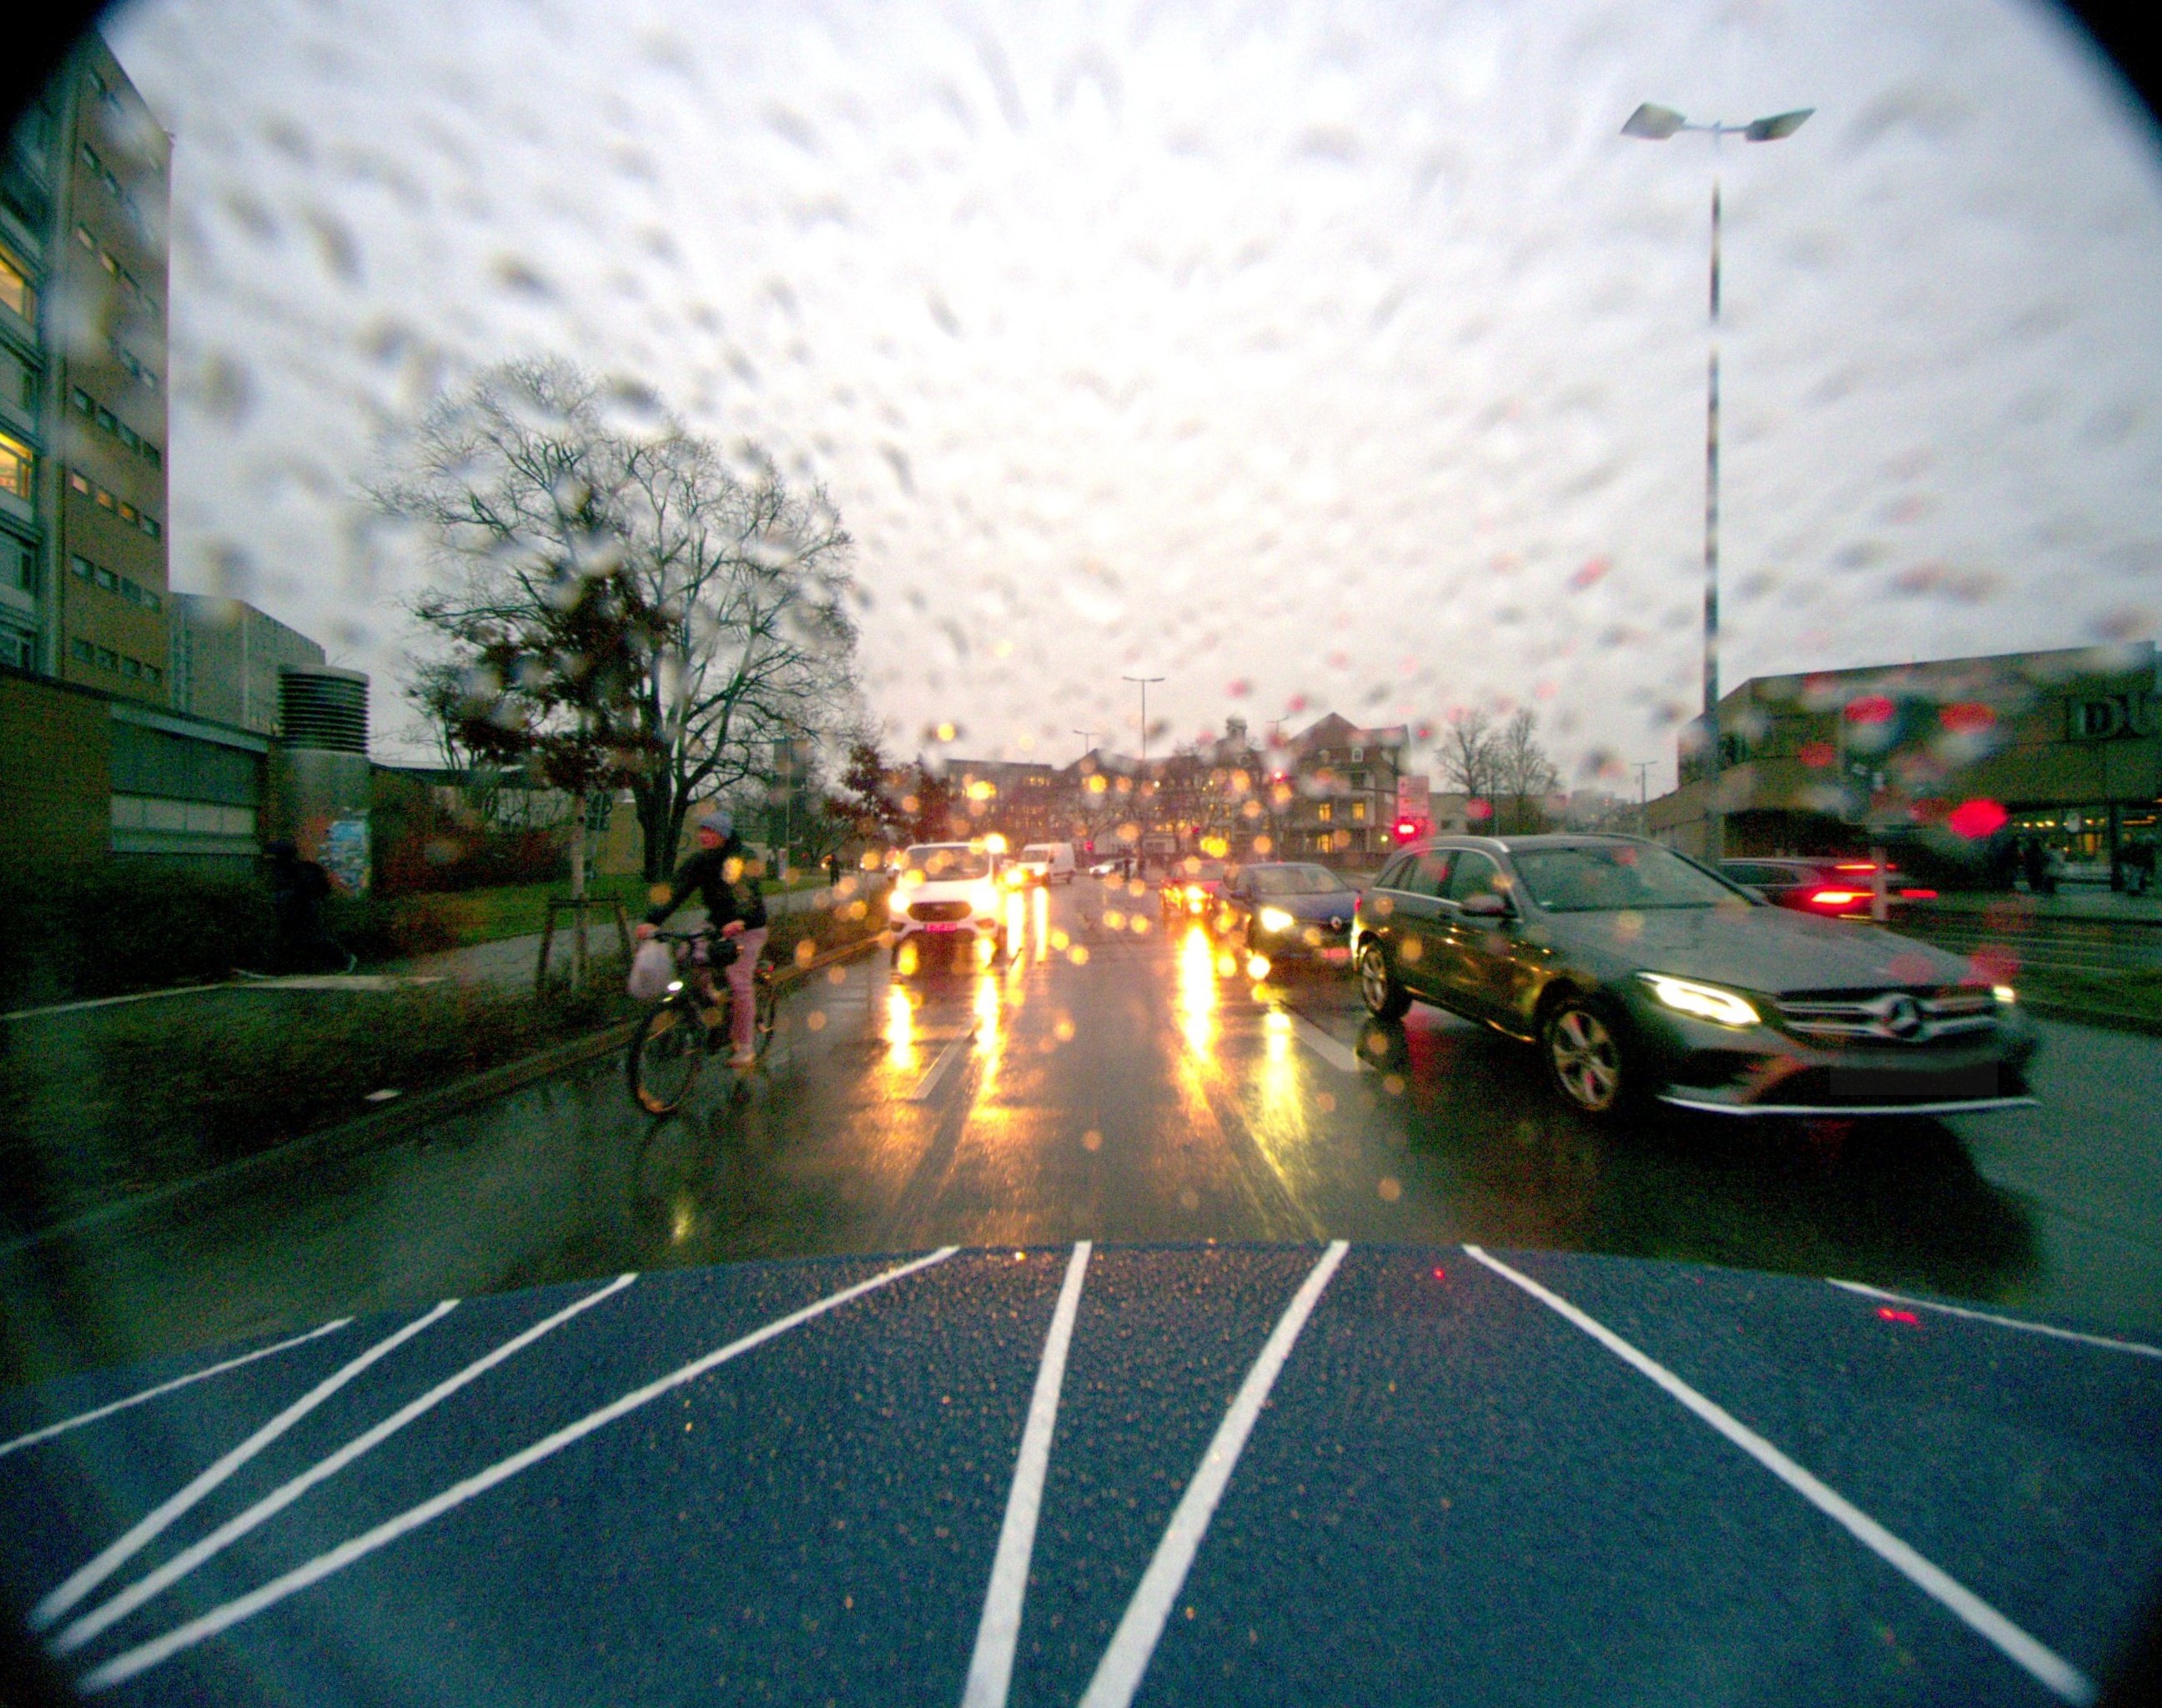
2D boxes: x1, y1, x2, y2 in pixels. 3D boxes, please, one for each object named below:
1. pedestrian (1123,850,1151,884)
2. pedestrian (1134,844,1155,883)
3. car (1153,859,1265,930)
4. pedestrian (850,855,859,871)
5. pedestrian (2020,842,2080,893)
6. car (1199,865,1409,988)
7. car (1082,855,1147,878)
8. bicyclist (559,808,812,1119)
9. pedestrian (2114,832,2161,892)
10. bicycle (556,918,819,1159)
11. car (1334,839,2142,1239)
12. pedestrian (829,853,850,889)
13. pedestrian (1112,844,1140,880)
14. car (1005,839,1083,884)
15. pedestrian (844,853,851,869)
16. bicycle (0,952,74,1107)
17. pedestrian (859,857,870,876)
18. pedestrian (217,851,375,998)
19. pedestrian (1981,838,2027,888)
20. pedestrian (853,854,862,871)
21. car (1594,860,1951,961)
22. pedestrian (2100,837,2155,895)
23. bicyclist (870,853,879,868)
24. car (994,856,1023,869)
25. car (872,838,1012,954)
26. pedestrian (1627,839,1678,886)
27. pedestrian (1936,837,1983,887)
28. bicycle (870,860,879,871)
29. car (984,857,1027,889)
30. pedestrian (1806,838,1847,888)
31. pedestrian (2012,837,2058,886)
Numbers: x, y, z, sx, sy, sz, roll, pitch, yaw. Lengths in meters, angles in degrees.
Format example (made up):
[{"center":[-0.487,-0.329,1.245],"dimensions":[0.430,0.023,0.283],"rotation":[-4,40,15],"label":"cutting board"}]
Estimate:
[{"center":[3.079,0.717,41.722],"dimensions":[1.037,1.846,1.068],"rotation":[1,-2,-38],"label":"pedestrian"},{"center":[3.309,0.500,39.544],"dimensions":[0.848,1.993,1.109],"rotation":[-1,-2,-6],"label":"pedestrian"},{"center":[3.084,0.927,19.107],"dimensions":[1.706,1.473,3.869],"rotation":[-3,0,-6],"label":"car"},{"center":[-26.726,1.046,89.780],"dimensions":[0.934,1.815,0.832],"rotation":[0,1,-22],"label":"pedestrian"},{"center":[30.872,0.427,24.235],"dimensions":[0.854,1.593,0.967],"rotation":[0,0,29],"label":"pedestrian"},{"center":[3.089,0.923,11.465],"dimensions":[1.664,1.396,4.118],"rotation":[-2,0,-4],"label":"car"},{"center":[2.498,0.866,55.520],"dimensions":[4.827,1.634,1.833],"rotation":[0,0,-43],"label":"car"},{"center":[-2.624,0.669,5.242],"dimensions":[1.026,1.872,1.236],"rotation":[-2,1,1],"label":"bicyclist"},{"center":[34.885,0.262,24.757],"dimensions":[1.120,1.907,1.065],"rotation":[0,0,31],"label":"pedestrian"},{"center":[-2.608,1.150,5.353],"dimensions":[0.794,1.215,1.904],"rotation":[-2,0,1],"label":"bicycle"},{"center":[3.534,0.770,5.464],"dimensions":[1.790,1.591,4.540],"rotation":[-3,0,-1],"label":"car"},{"center":[-11.553,0.811,36.342],"dimensions":[0.913,1.677,0.926],"rotation":[1,-2,-17],"label":"pedestrian"},{"center":[2.572,0.464,43.562],"dimensions":[1.032,2.037,1.218],"rotation":[-2,-2,39],"label":"pedestrian"},{"center":[-2.127,0.529,45.996],"dimensions":[2.343,2.502,5.879],"rotation":[-2,-2,22],"label":"car"},{"center":[-30.275,0.931,98.474],"dimensions":[0.767,2.002,0.908],"rotation":[0,1,-24],"label":"pedestrian"},{"center":[-7.155,1.155,4.146],"dimensions":[0.563,0.941,2.094],"rotation":[1,1,-2],"label":"bicycle"},{"center":[-20.177,1.159,70.877],"dimensions":[0.934,1.815,0.832],"rotation":[0,1,-22],"label":"pedestrian"},{"center":[-9.577,0.814,9.321],"dimensions":[0.809,1.678,1.070],"rotation":[1,1,2],"label":"pedestrian"},{"center":[31.821,0.307,26.191],"dimensions":[0.743,1.716,0.743],"rotation":[0,0,-12],"label":"pedestrian"},{"center":[-25.183,0.944,85.510],"dimensions":[0.934,1.815,0.832],"rotation":[0,1,-22],"label":"pedestrian"},{"center":[11.997,0.852,13.783],"dimensions":[1.811,1.411,4.820],"rotation":[-1,0,-6],"label":"car"},{"center":[31.610,0.358,22.961],"dimensions":[0.801,1.740,0.761],"rotation":[0,0,-18],"label":"pedestrian"},{"center":[-23.393,0.722,85.965],"dimensions":[0.807,1.608,1.084],"rotation":[3,0,-20],"label":"bicyclist"},{"center":[-7.888,0.942,82.524],"dimensions":[1.934,1.368,4.489],"rotation":[0,0,-22],"label":"car"},{"center":[-2.558,0.789,15.226],"dimensions":[2.137,1.909,5.017],"rotation":[-1,-2,-3],"label":"car"},{"center":[22.904,0.362,30.465],"dimensions":[1.035,1.846,1.235],"rotation":[-1,-2,-4],"label":"pedestrian"},{"center":[30.514,0.272,26.397],"dimensions":[0.741,1.716,0.744],"rotation":[0,0,7],"label":"pedestrian"},{"center":[-23.369,1.301,85.867],"dimensions":[0.807,1.134,2.209],"rotation":[3,-1,-20],"label":"bicycle"},{"center":[-3.810,0.995,38.911],"dimensions":[1.754,1.494,4.319],"rotation":[-1,-2,0],"label":"car"},{"center":[26.621,0.305,27.130],"dimensions":[0.662,1.757,0.832],"rotation":[0,0,-17],"label":"pedestrian"},{"center":[34.115,0.260,27.171],"dimensions":[0.743,1.716,0.743],"rotation":[0,0,-9],"label":"pedestrian"}]
